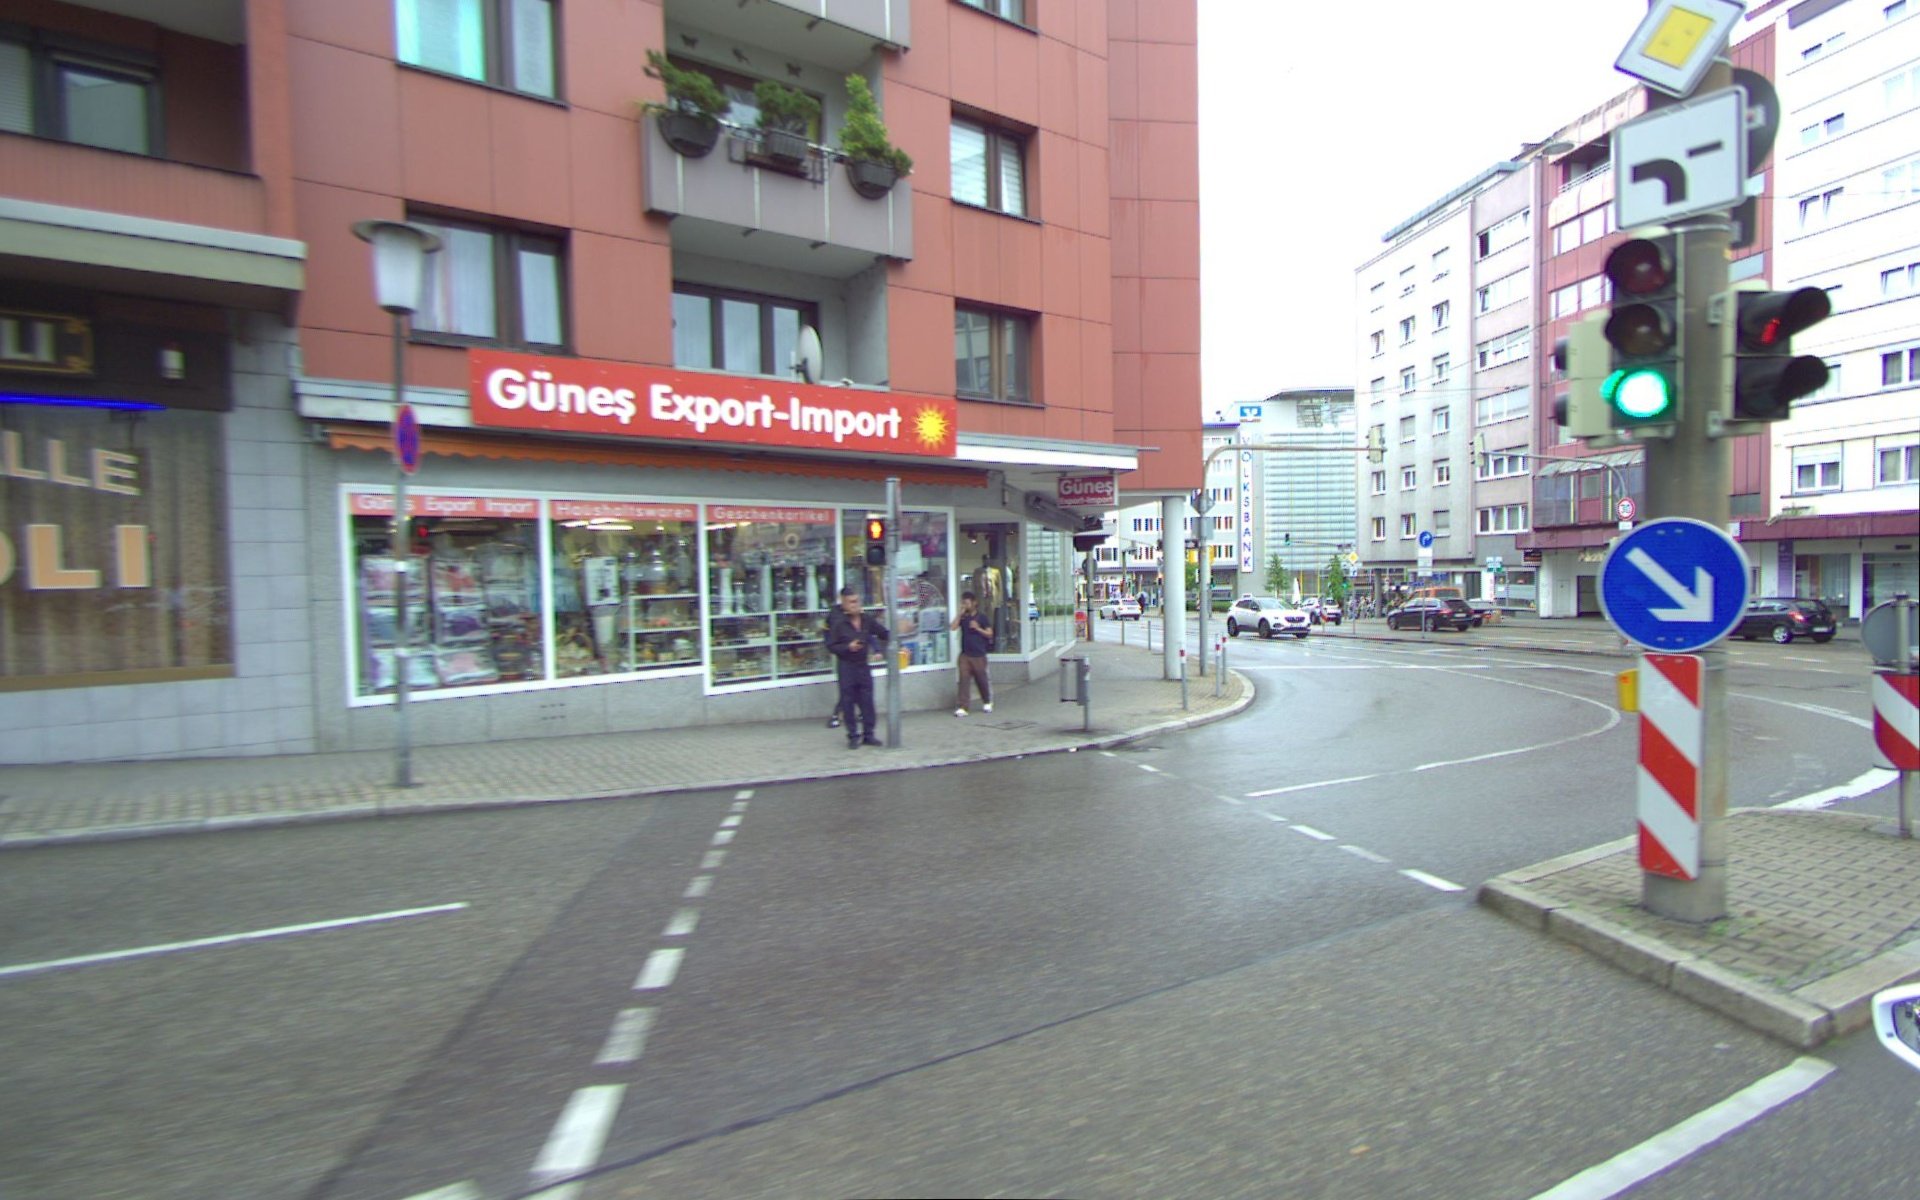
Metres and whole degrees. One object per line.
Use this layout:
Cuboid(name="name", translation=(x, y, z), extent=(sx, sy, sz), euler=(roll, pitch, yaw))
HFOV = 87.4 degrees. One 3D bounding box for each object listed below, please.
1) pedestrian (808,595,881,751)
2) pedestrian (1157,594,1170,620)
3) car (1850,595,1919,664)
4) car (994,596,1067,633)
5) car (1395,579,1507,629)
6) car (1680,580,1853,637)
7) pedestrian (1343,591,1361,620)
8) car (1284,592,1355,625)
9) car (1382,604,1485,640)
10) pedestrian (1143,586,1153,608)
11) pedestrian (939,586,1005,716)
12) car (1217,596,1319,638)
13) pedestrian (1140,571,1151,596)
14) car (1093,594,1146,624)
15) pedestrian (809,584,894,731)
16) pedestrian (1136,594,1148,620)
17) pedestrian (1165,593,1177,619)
Cuboid(name="pedestrian", translation=(-1.329, 0.816, 11.568), extent=(0.618, 1.720, 0.550), euler=(1, 1, -38))
Cuboid(name="pedestrian", translation=(16.252, 0.562, 80.299), extent=(0.798, 2.040, 0.855), euler=(1, 0, 1))
Cuboid(name="car", translation=(22.536, 0.702, 22.747), extent=(1.842, 1.515, 4.401), euler=(2, 1, 17))
Cuboid(name="car", translation=(3.063, 0.619, 44.879), extent=(1.965, 1.426, 4.723), euler=(1, 1, -12))
Cuboid(name="car", translation=(24.334, 0.141, 50.098), extent=(2.209, 2.258, 5.418), euler=(2, 1, -10))
Cuboid(name="car", translation=(26.923, 0.230, 33.769), extent=(1.795, 1.680, 4.489), euler=(3, 1, -7))
Cuboid(name="pedestrian", translation=(27.128, 0.376, 69.446), extent=(0.847, 2.040, 0.805), euler=(1, 0, -38))
Cuboid(name="car", translation=(20.355, 0.447, 57.086), extent=(1.895, 1.535, 4.658), euler=(4, 1, -6))
Cuboid(name="car", translation=(20.993, 0.948, 44.726), extent=(1.965, 1.506, 4.226), euler=(1, 0, -13))
Cuboid(name="pedestrian", translation=(17.982, -0.277, 96.086), extent=(0.798, 2.040, 0.855), euler=(1, 0, 1))
Cuboid(name="pedestrian", translation=(0.189, 0.741, 14.891), extent=(0.813, 1.856, 0.724), euler=(1, 1, 11))
Cuboid(name="car", translation=(12.523, 0.640, 41.204), extent=(1.965, 1.577, 4.724), euler=(-1, 0, -12))
Cuboid(name="pedestrian", translation=(15.307, -1.319, 82.916), extent=(0.798, 2.040, 0.855), euler=(1, 0, 1))
Cuboid(name="car", translation=(10.901, 0.573, 68.919), extent=(1.965, 1.814, 4.723), euler=(1, 2, -12))
Cuboid(name="pedestrian", translation=(-1.448, 0.738, 13.335), extent=(0.836, 1.873, 0.755), euler=(1, 1, -36))
Cuboid(name="pedestrian", translation=(14.644, 0.580, 80.901), extent=(0.798, 2.040, 0.855), euler=(1, 0, 1))
Cuboid(name="pedestrian", translation=(17.125, 0.467, 81.420), extent=(0.798, 2.040, 0.855), euler=(1, 0, 1))
